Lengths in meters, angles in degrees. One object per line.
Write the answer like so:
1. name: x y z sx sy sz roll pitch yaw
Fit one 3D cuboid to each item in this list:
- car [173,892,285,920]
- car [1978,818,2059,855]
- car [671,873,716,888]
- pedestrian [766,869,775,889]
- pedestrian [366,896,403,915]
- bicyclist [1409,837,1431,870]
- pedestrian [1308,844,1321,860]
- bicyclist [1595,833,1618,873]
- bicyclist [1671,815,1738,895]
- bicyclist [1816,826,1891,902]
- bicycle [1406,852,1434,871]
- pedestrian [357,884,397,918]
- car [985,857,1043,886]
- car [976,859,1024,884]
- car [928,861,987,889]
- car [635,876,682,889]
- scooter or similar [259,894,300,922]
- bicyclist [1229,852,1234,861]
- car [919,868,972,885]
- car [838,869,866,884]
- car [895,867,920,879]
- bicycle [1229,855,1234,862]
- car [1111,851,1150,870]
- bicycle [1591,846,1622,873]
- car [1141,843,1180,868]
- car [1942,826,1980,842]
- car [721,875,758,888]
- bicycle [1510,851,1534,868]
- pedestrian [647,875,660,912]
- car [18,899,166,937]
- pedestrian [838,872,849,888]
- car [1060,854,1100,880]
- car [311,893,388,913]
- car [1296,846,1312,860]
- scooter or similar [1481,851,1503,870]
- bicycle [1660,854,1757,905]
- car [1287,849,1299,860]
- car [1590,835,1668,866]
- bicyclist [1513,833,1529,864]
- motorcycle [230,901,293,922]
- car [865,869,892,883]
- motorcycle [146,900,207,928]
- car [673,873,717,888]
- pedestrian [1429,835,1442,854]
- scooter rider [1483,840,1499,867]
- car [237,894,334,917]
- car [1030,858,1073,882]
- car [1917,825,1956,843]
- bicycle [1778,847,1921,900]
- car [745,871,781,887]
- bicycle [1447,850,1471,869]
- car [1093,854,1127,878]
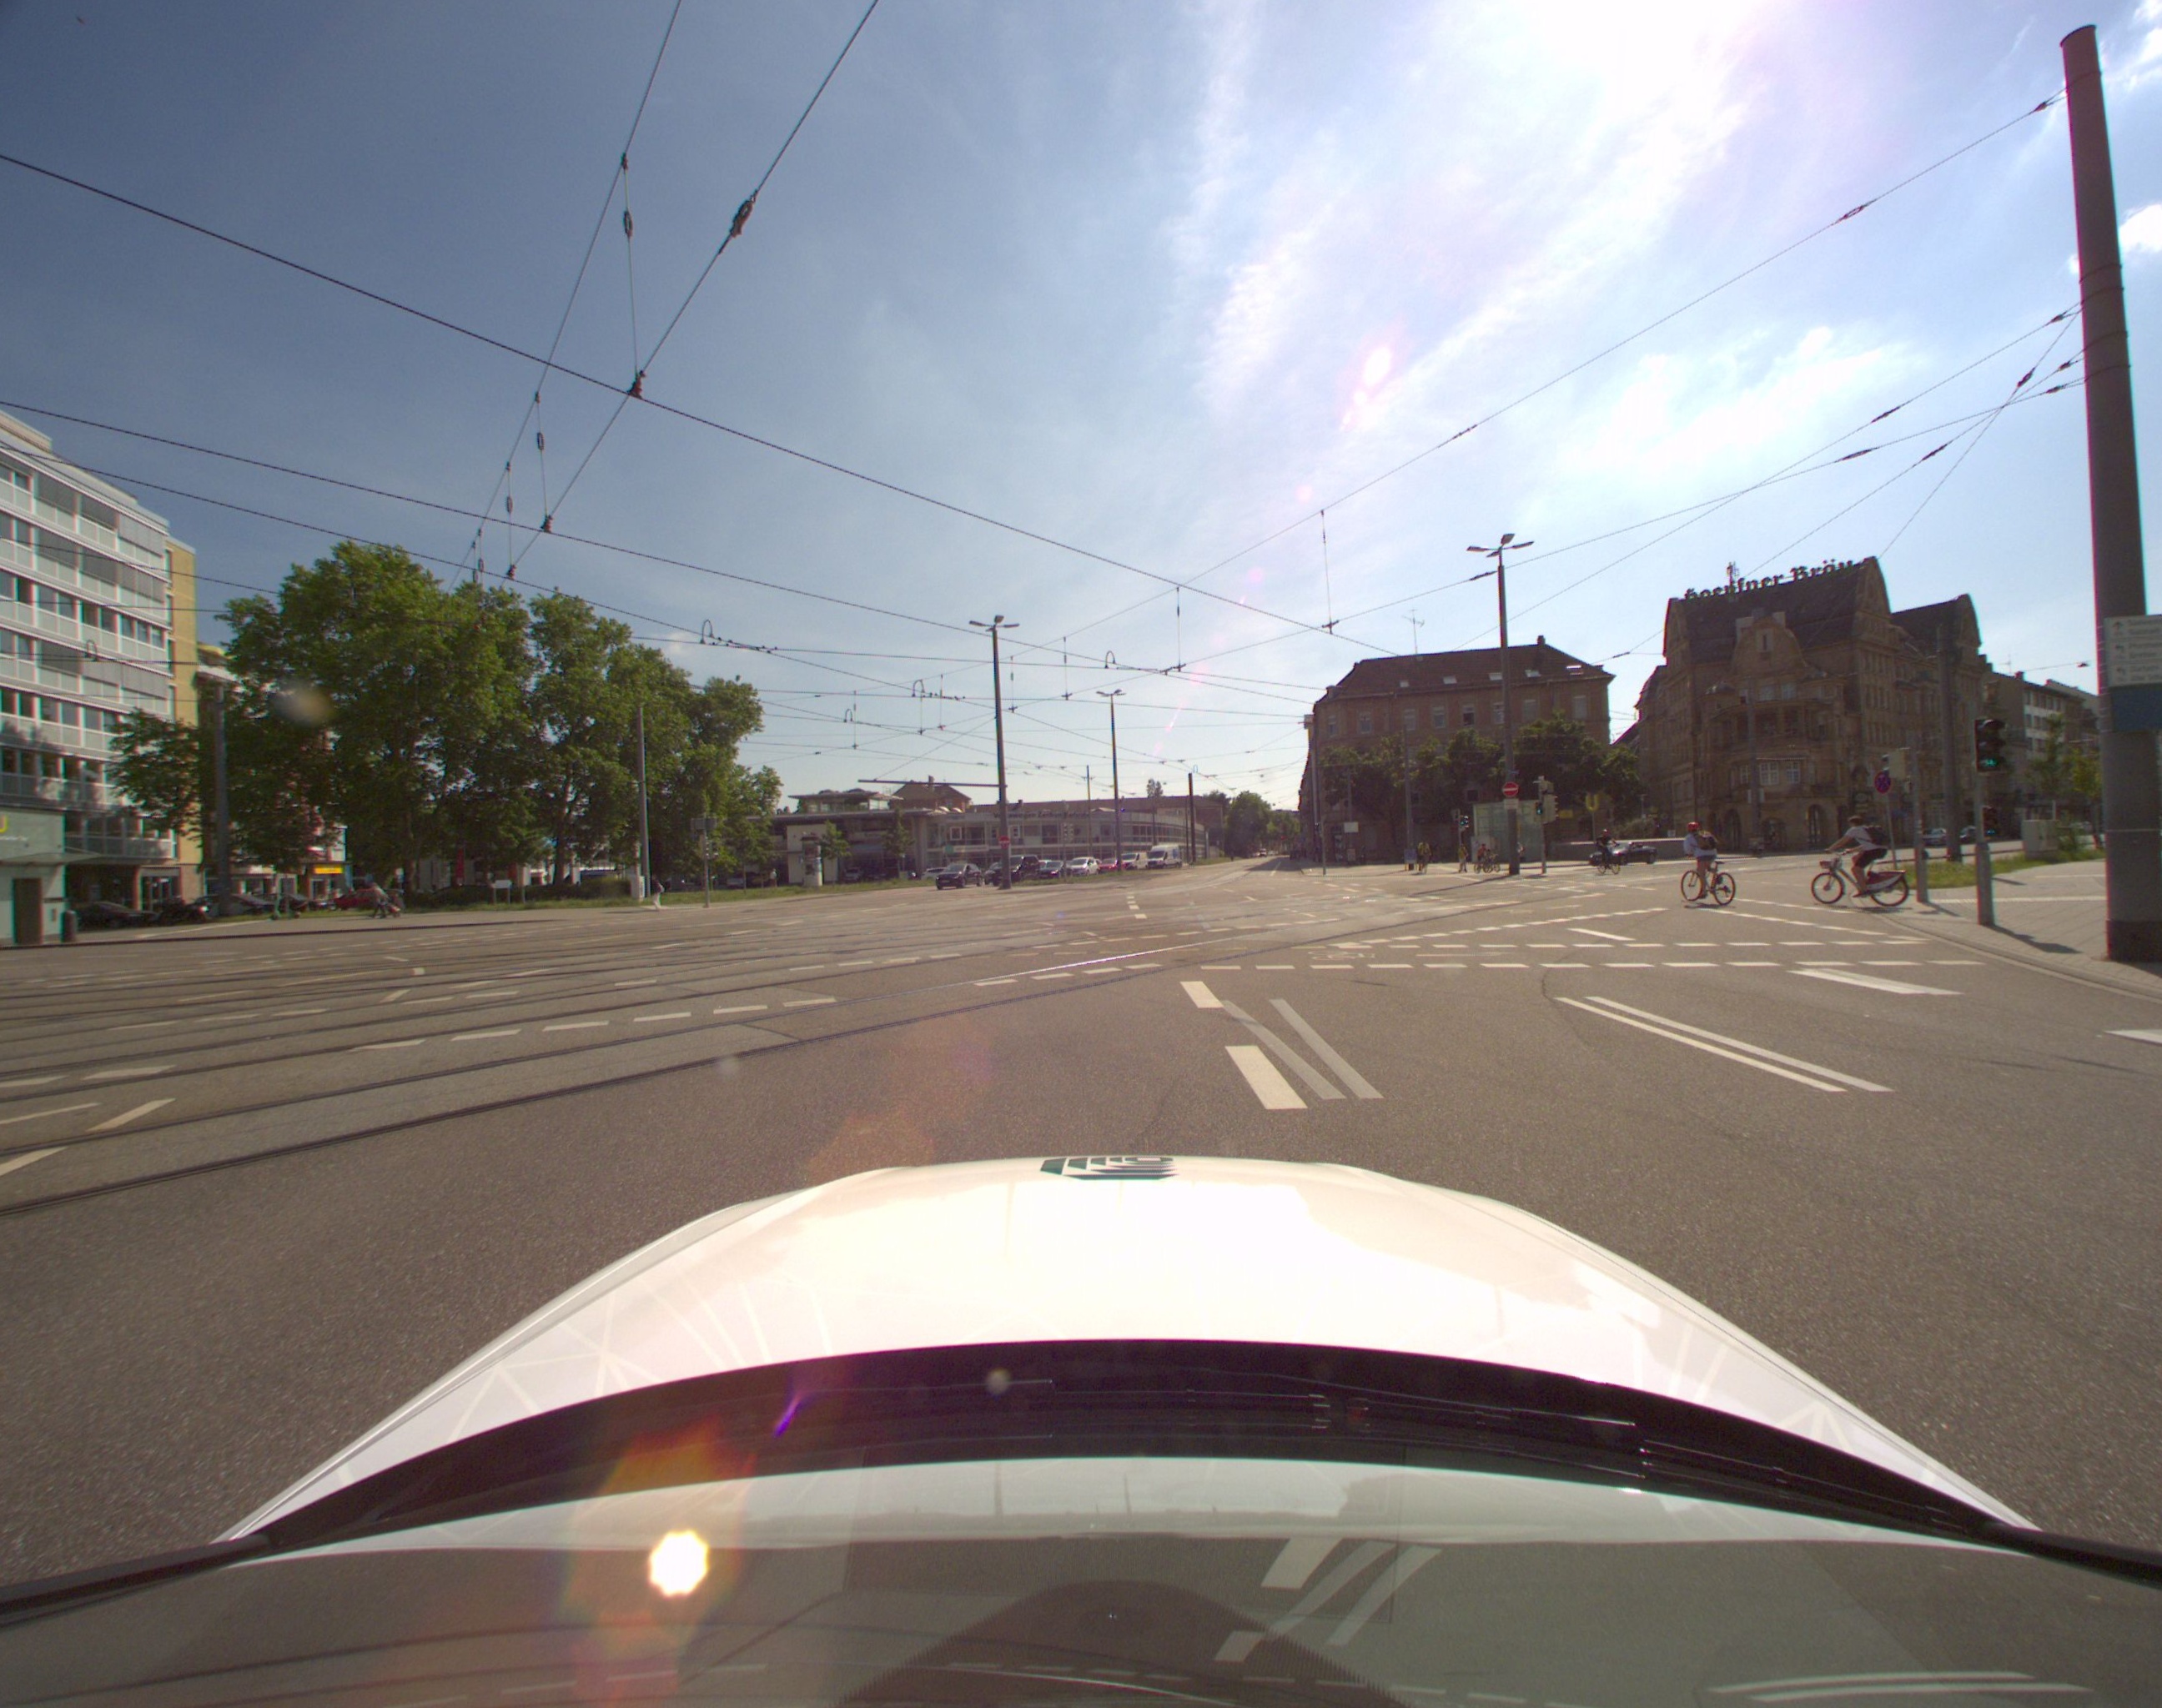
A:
1. car: -49.170 2.985 47.085 3.997 1.440 1.880 0 -1 -17
2. car: 37.076 -0.701 32.188 3.466 1.313 1.654 -2 -1 -34
3. car: -42.916 2.927 90.302 3.977 1.552 1.998 -2 0 -2
4. pedestrian: -24.583 1.966 64.453 0.388 1.596 0.466 -1 -2 23
5. pedestrian: -35.681 2.618 41.740 1.176 0.892 0.817 -2 0 -20
6. bicyclist: 19.350 -0.020 46.523 0.921 1.820 1.055 -1 -1 9
7. pedestrian: 22.342 -0.194 77.856 0.875 1.433 0.717 -3 -1 44
8. bicyclist: 21.756 -0.056 33.745 0.661 1.624 0.787 -1 0 22
9. bicyclist: 13.656 0.029 17.864 0.710 1.669 0.876 -5 -1 8
10. bicyclist: 15.665 0.199 16.524 0.719 1.488 0.940 1 -2 -34
11. bicycle: 19.455 0.455 46.772 0.921 1.069 2.754 -1 -1 10
12. pedestrian: -30.026 2.007 34.733 1.118 1.404 0.652 0 -2 -22
13. car: -4.100 1.059 50.646 1.946 1.588 4.737 -3 0 17
14. car: -5.609 1.202 56.820 1.879 1.588 4.017 -3 -2 17
15. car: -7.541 1.289 49.981 1.877 1.588 4.228 -3 -2 17
16. car: -45.200 3.051 87.225 3.975 1.371 1.999 0 -1 -1
17. scooter or similar: -34.357 2.322 34.905 1.351 1.119 0.518 -2 -1 9
18. bicyclist: 27.391 0.464 148.181 0.746 1.568 1.091 -1 -1 13
19. car: -12.207 2.032 73.420 4.552 1.436 1.449 -1 -1 13
20. car: -24.185 2.376 86.137 1.988 1.486 3.997 0 -1 -2
21. car: -18.232 1.977 85.810 1.825 1.195 3.997 0 -1 -1
22. bicycle: 27.381 0.865 148.113 0.746 1.194 2.849 -1 -1 14
23. car: 4.817 0.615 78.756 2.166 1.680 5.056 -3 -1 22
24. bicycle: 21.758 0.209 33.758 0.661 1.069 2.477 -1 0 22
25. car: 8.418 0.186 85.810 2.188 2.576 5.909 -1 -1 26
26. car: 80.710 -1.842 74.686 3.623 1.345 1.622 -2 -1 -32
27. car: -36.173 2.876 86.405 1.984 1.244 4.005 -1 -1 5
28. bicycle: 22.954 0.285 42.429 0.498 0.866 1.589 0 0 5
29. pedestrian: -18.923 1.740 36.039 0.456 1.605 0.396 1 -2 -37
30. car: -45.716 2.944 37.751 4.090 1.471 1.649 -2 -4 -17
31. pedestrian: -23.801 2.562 81.557 0.951 1.580 0.533 0 -1 -4
32. car: -0.037 1.053 64.542 1.879 1.917 4.218 -3 -2 17
33. car: -52.887 3.510 58.961 3.732 1.340 1.733 0 -1 -17
34. car: 34.013 -0.115 124.241 1.980 2.014 4.012 -1 -1 12
35. scooter or similar: 20.772 0.328 41.205 0.585 0.976 0.991 0 -1 -1
36. bicycle: 13.704 0.535 17.863 0.710 1.015 2.025 -5 -1 8
37. car: 39.597 0.086 152.174 2.093 2.014 4.015 -1 -1 14
38. car: 31.228 -0.220 46.385 4.001 1.584 1.627 -2 -1 -21
39. bicyclist: 22.948 -0.284 42.467 0.498 1.621 0.650 0 0 5
40. motorcycle: -39.282 2.750 39.066 0.632 0.842 2.051 -3 0 33
41. car: -21.409 2.319 86.148 1.988 1.486 3.997 0 -1 -2
42. motorcycle: -37.985 2.528 34.206 2.020 1.062 0.642 -2 -1 7
43. car: -44.010 2.993 92.958 3.977 1.508 1.998 -2 0 -2
44. pedestrian: 26.889 -0.716 61.739 0.617 1.433 0.704 1 -2 -38
45. scooter rider: 20.768 -0.018 41.216 0.585 1.397 0.406 0 -1 -1
46. car: -50.207 3.250 51.468 3.997 1.270 1.733 0 -1 -17
47. car: -2.051 1.144 57.221 1.881 1.588 4.015 -3 -2 14
48. car: 74.392 -1.743 70.804 3.595 1.345 1.622 -2 -1 -32
49. bicycle: 15.607 0.389 16.604 0.719 1.015 1.999 1 -2 -35
50. car: -33.825 2.648 86.837 1.984 1.684 4.005 -1 -1 5
51. bicycle: 21.436 0.299 46.224 0.919 1.069 2.855 -1 0 19
52. car: 2.570 1.078 71.475 1.879 1.917 4.218 -3 -2 17
